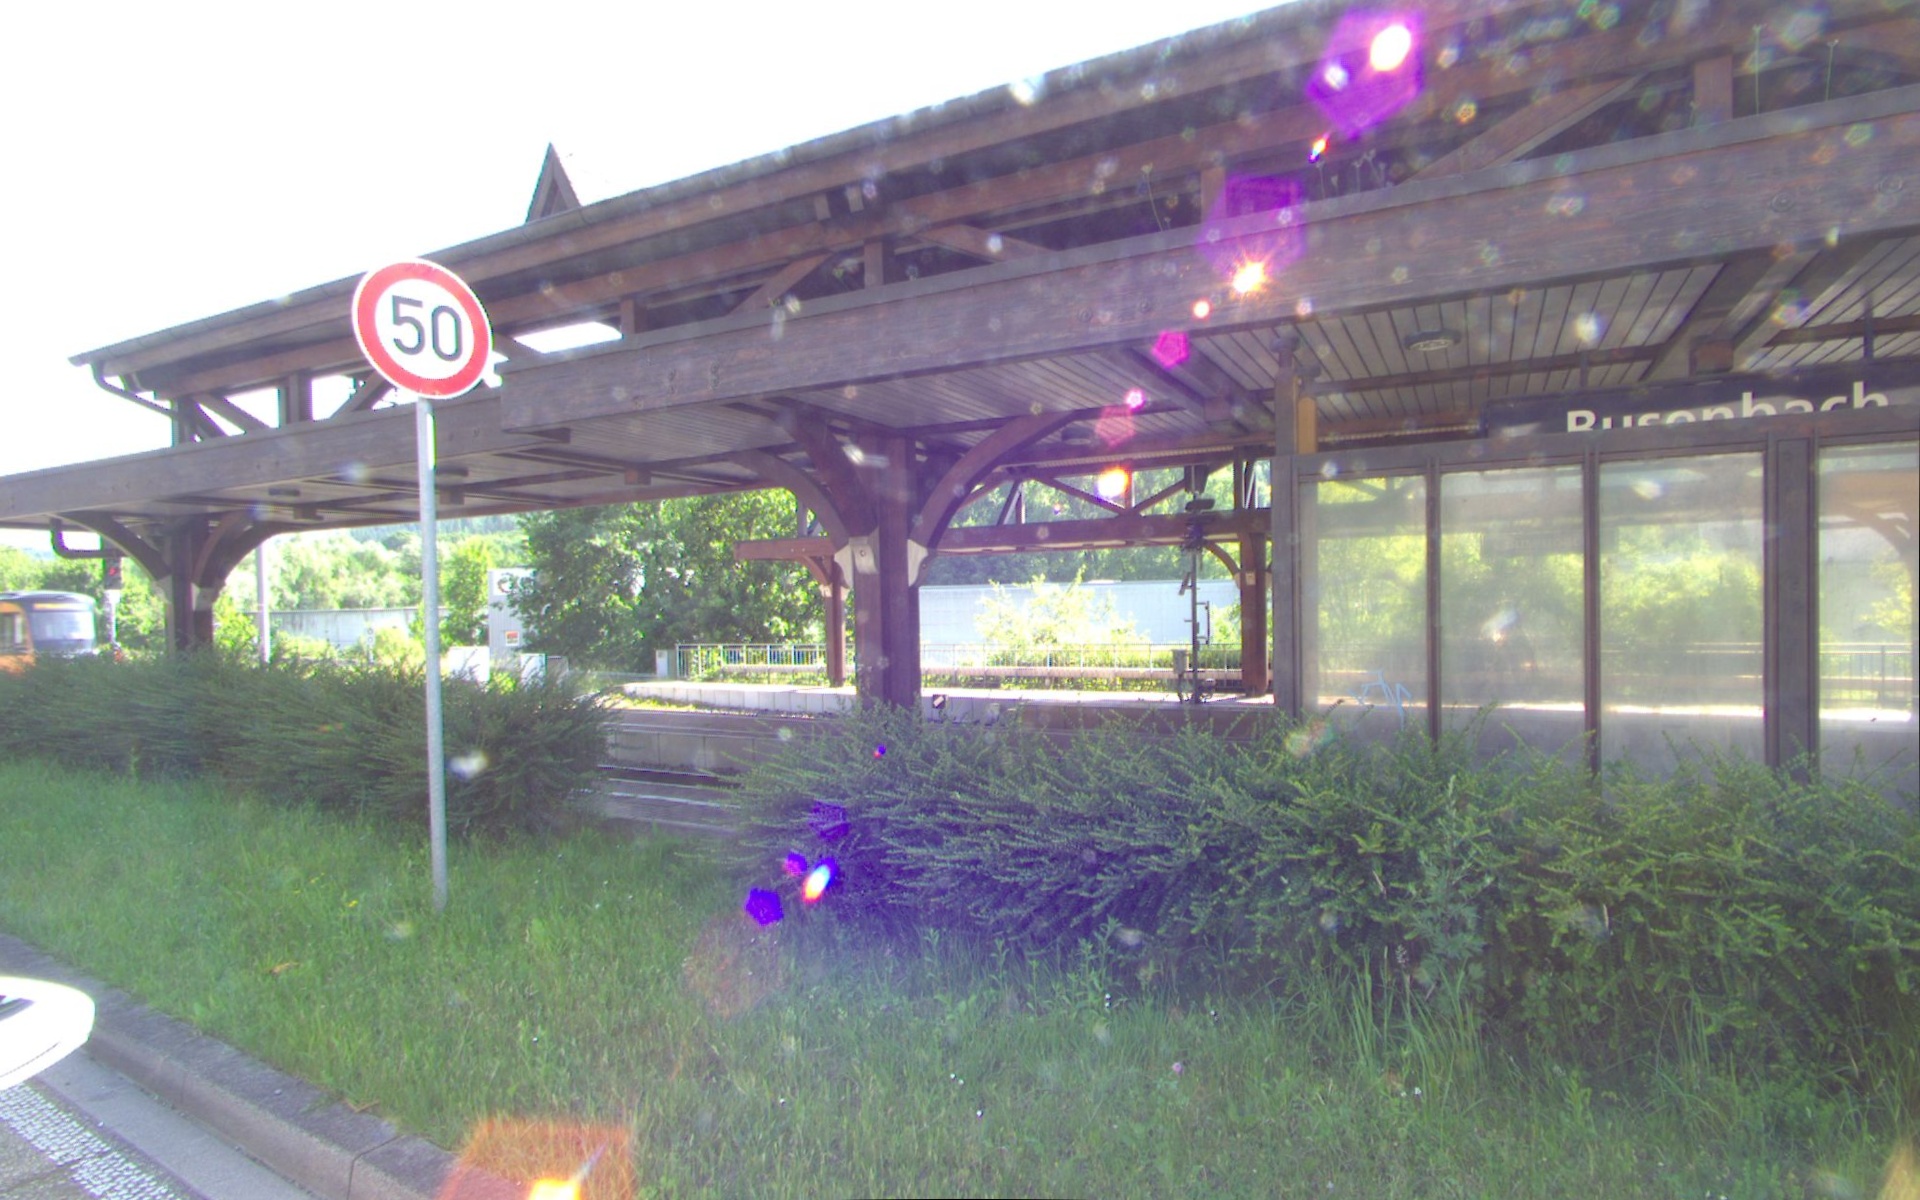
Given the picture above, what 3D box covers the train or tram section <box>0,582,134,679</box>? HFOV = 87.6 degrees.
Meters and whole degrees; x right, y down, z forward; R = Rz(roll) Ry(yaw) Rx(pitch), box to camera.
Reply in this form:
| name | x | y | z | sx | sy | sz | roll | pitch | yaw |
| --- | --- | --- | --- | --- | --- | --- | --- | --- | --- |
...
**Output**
| name | x | y | z | sx | sy | sz | roll | pitch | yaw |
| --- | --- | --- | --- | --- | --- | --- | --- | --- | --- |
| train or tram section | -38.059 | 1.188 | 40.003 | 14.135 | 3.408 | 2.853 | -1 | -1 | 29 |
